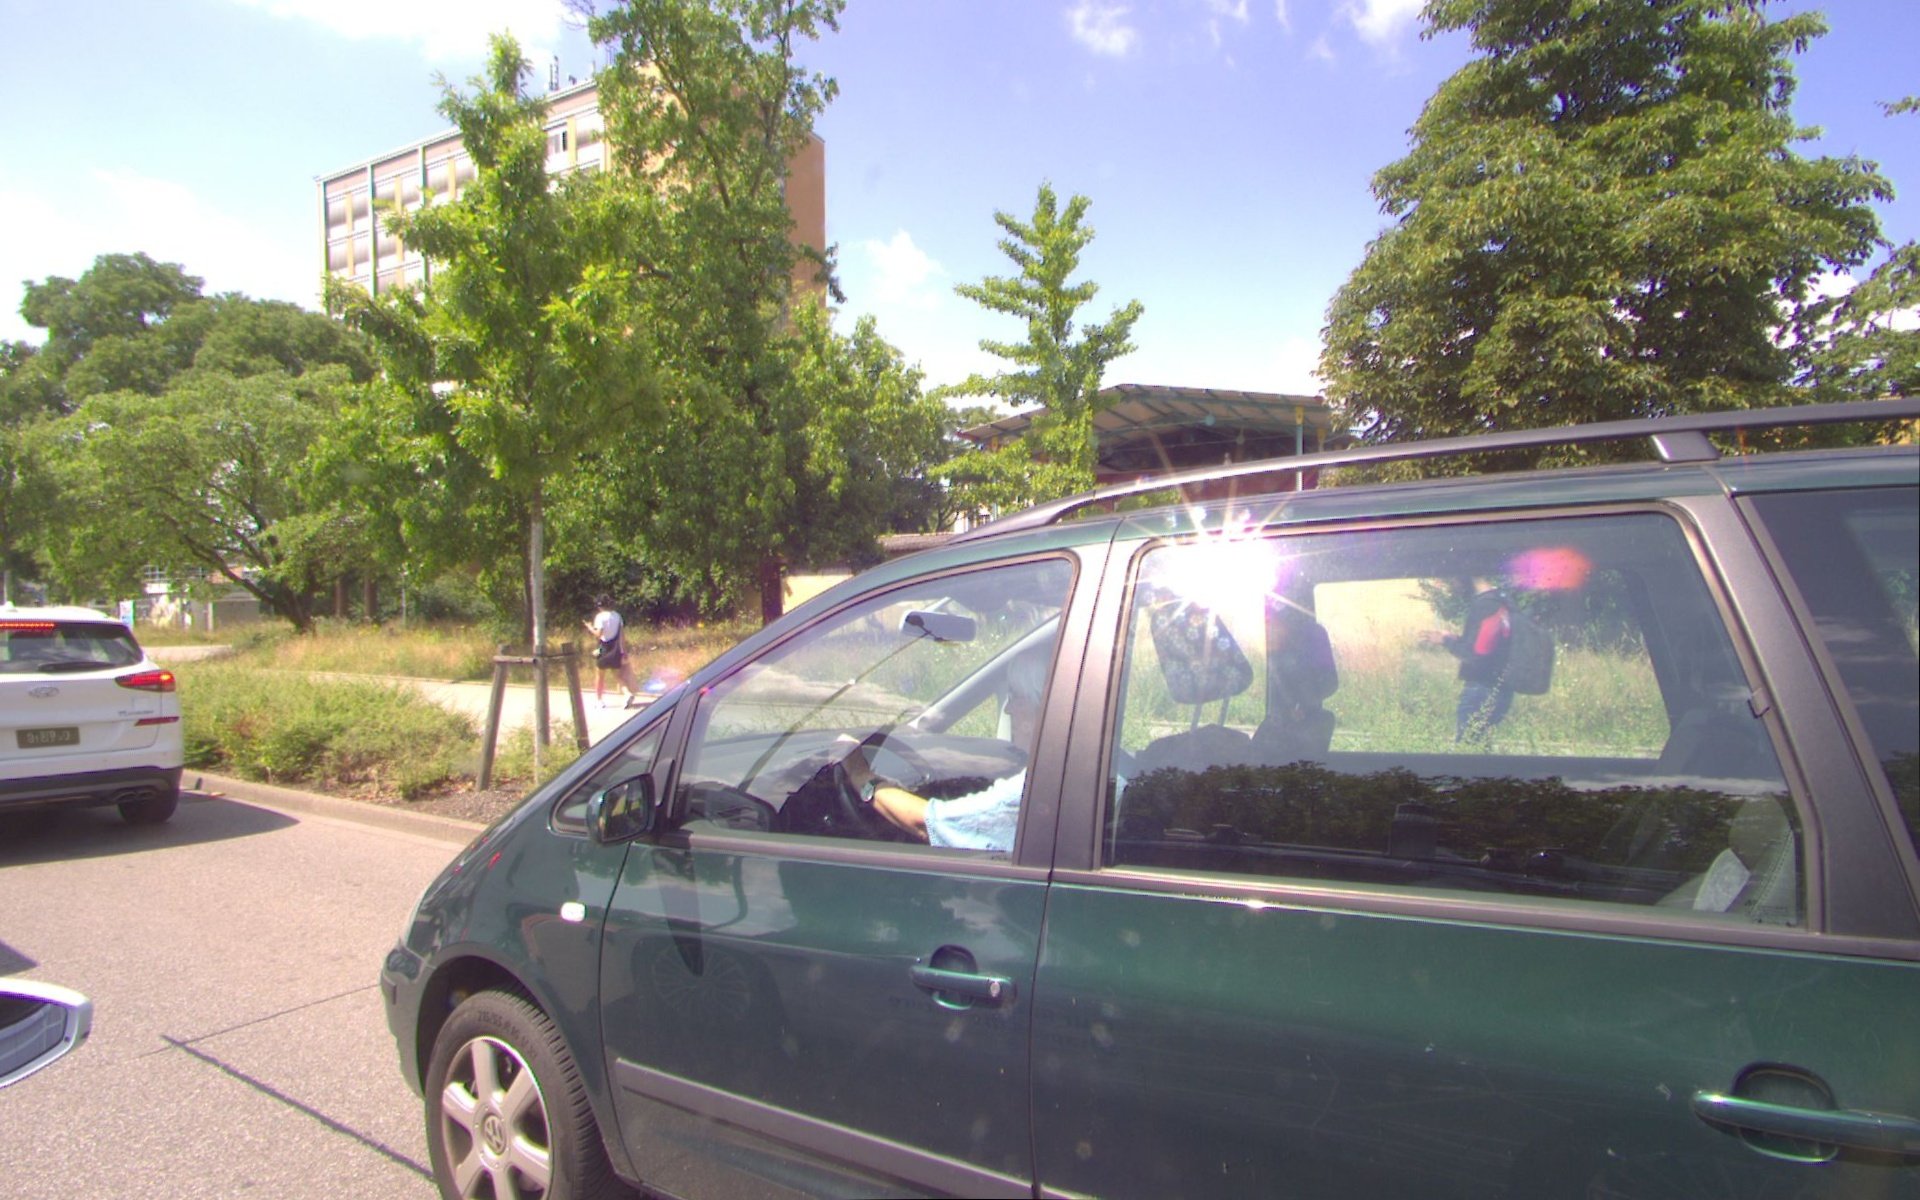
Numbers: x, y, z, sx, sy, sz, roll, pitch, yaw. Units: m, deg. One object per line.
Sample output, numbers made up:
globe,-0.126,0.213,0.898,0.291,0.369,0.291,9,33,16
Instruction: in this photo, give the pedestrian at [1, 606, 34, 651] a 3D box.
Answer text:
pedestrian,-40.107,1.197,42.622,0.802,1.874,0.759,0,1,22

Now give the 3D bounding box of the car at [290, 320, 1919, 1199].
car,0.547,0.634,2.267,4.329,1.737,1.799,0,-2,32

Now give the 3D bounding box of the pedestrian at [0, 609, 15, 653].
pedestrian,-41.761,1.336,43.546,0.803,1.874,0.758,0,1,28

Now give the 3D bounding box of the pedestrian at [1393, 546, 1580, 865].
pedestrian,3.108,0.568,5.913,0.807,1.706,0.754,0,1,44

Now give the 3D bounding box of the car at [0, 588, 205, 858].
car,-7.560,0.784,7.554,3.919,1.700,1.810,0,0,34

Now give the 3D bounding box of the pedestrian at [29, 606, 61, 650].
pedestrian,-39.789,1.203,43.552,0.803,1.874,0.759,0,1,24

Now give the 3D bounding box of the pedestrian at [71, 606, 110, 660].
pedestrian,-27.520,1.021,31.704,0.805,1.677,0.756,0,1,36

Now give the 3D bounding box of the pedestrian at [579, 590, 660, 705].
pedestrian,-4.833,0.653,14.223,0.805,1.578,0.757,0,1,34
